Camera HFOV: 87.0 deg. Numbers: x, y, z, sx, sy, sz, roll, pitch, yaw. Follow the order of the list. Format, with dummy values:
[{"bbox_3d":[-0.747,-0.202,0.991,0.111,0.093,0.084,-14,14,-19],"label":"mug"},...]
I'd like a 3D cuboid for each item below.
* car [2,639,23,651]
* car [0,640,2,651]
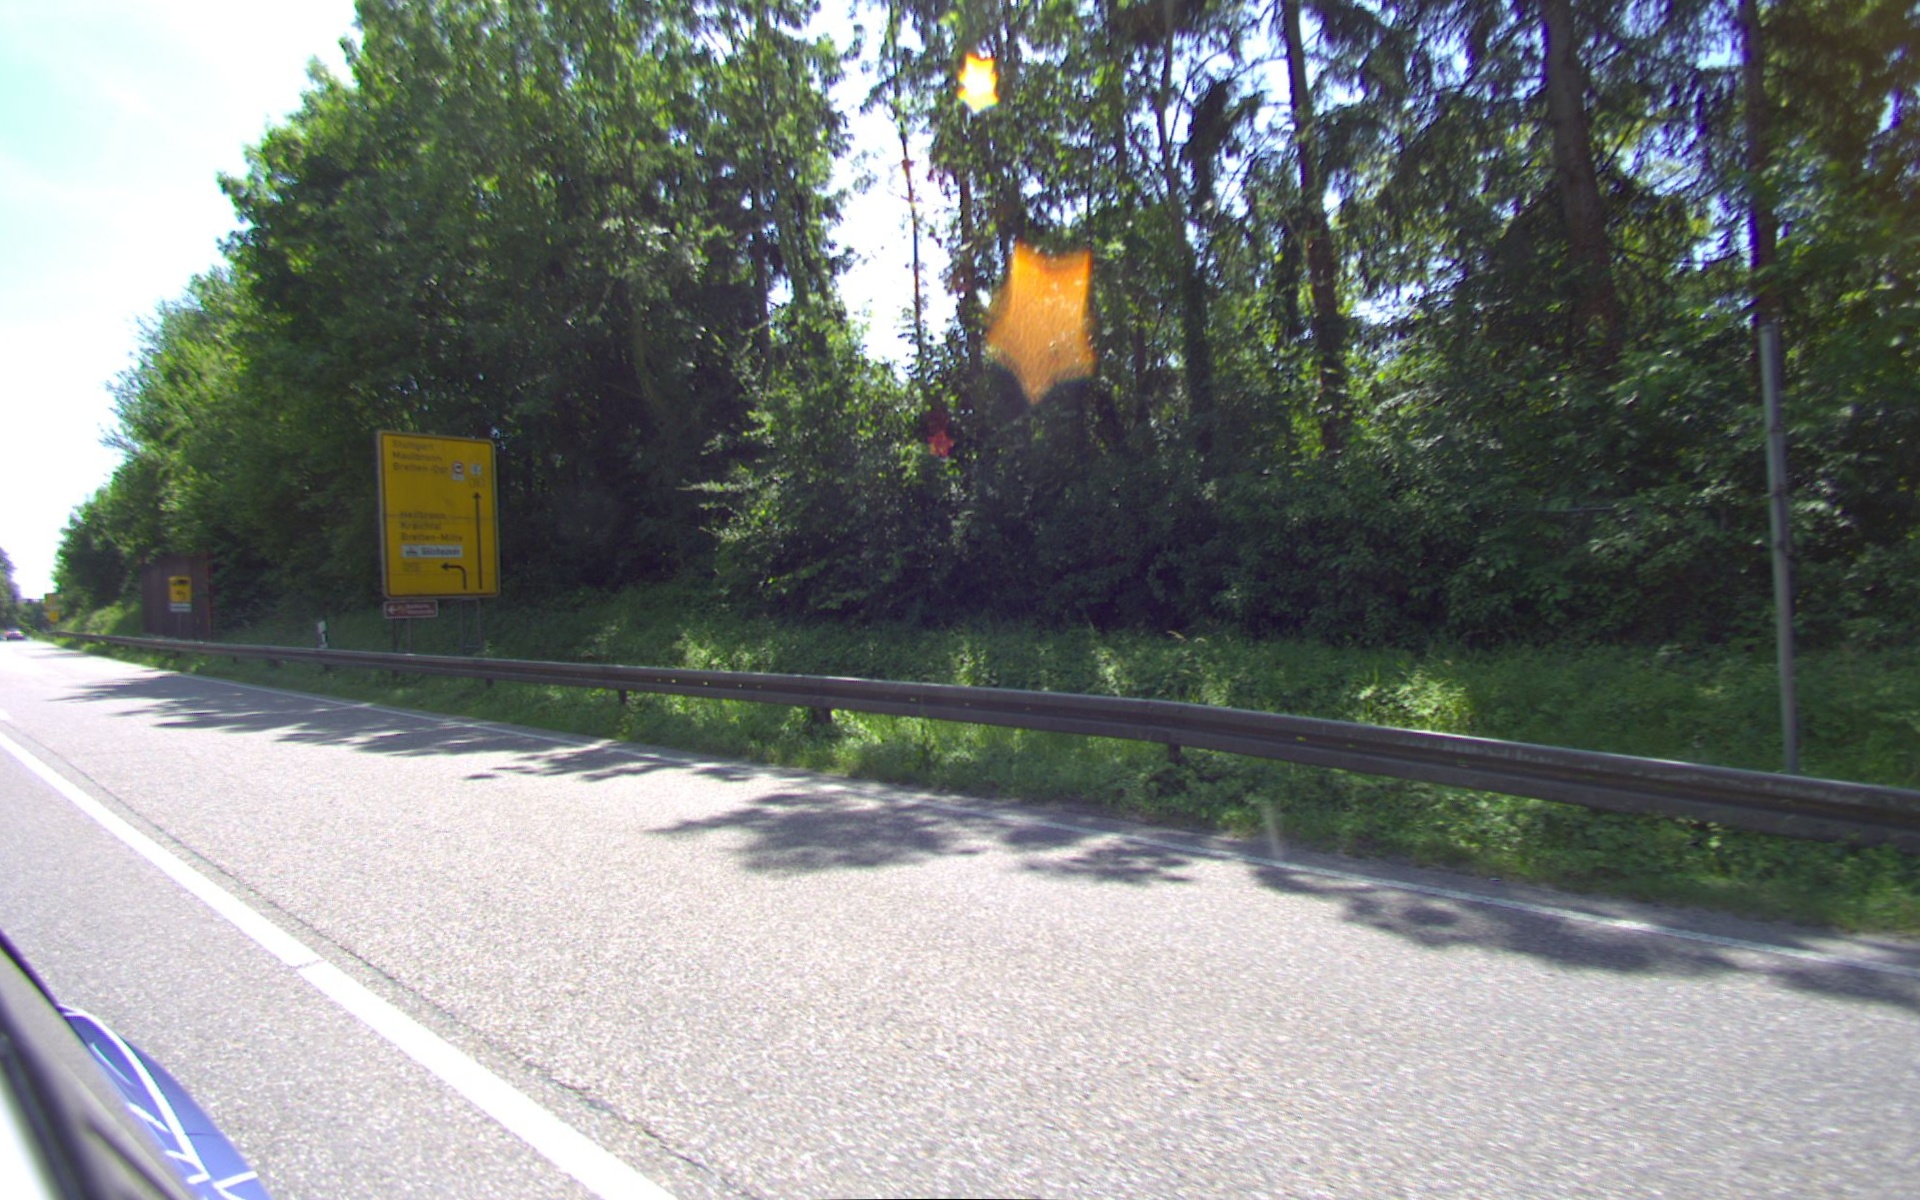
[{"bbox_3d":[-118.360,5.572,126.420,1.785,1.446,3.873,1,-2,-45],"label":"car"},{"bbox_3d":[-176.340,8.427,184.627,1.968,2.029,4.007,-3,0,-39],"label":"car"}]
